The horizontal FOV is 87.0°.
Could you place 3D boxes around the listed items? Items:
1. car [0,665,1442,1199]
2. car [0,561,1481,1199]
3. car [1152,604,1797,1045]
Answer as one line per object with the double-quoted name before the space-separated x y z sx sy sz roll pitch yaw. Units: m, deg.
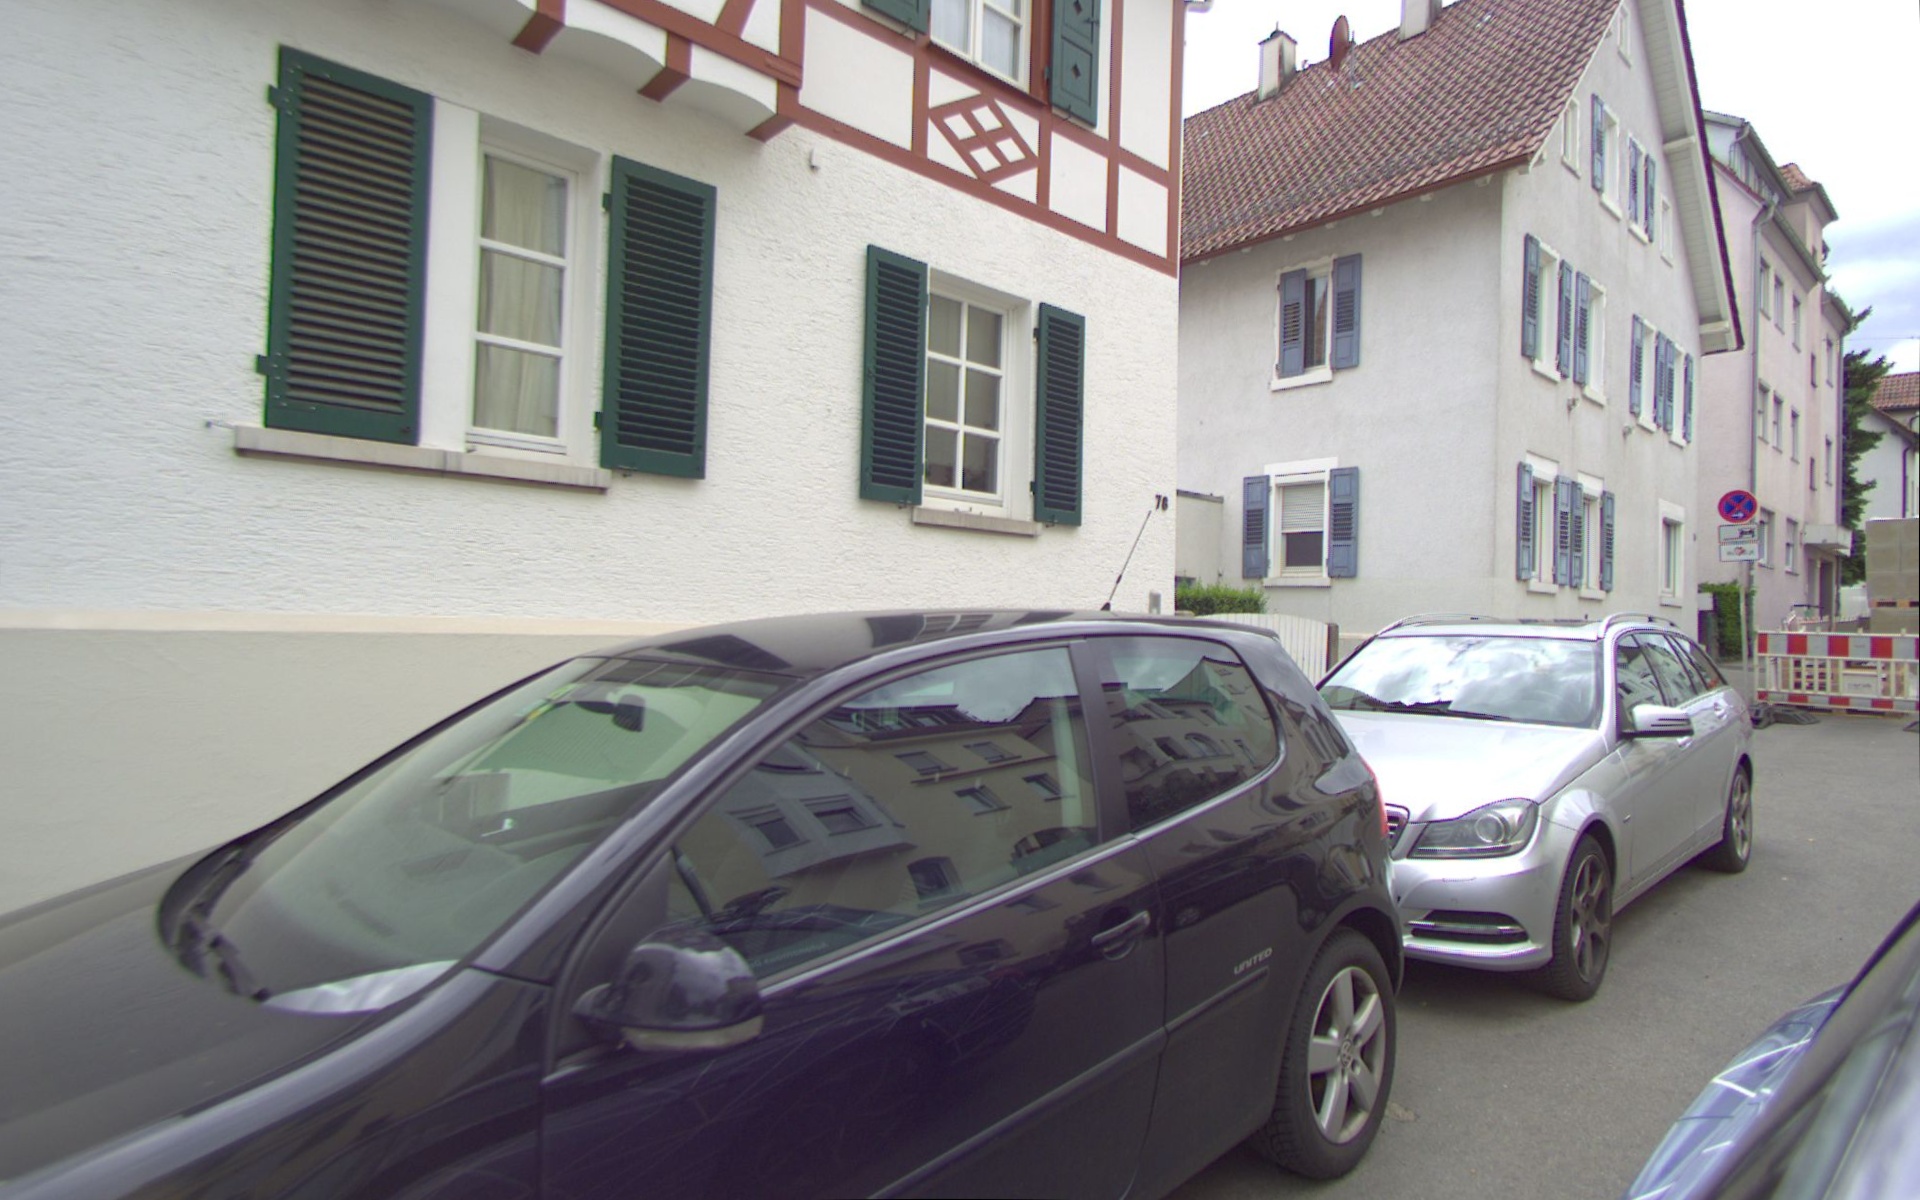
"car" -0.748 1.054 2.001 3.932 1.743 1.778 3 -2 -43
"car" -0.414 0.732 2.394 3.953 1.508 1.607 0 -1 -42
"car" 2.926 0.743 5.270 4.164 1.411 1.627 1 -1 -42
